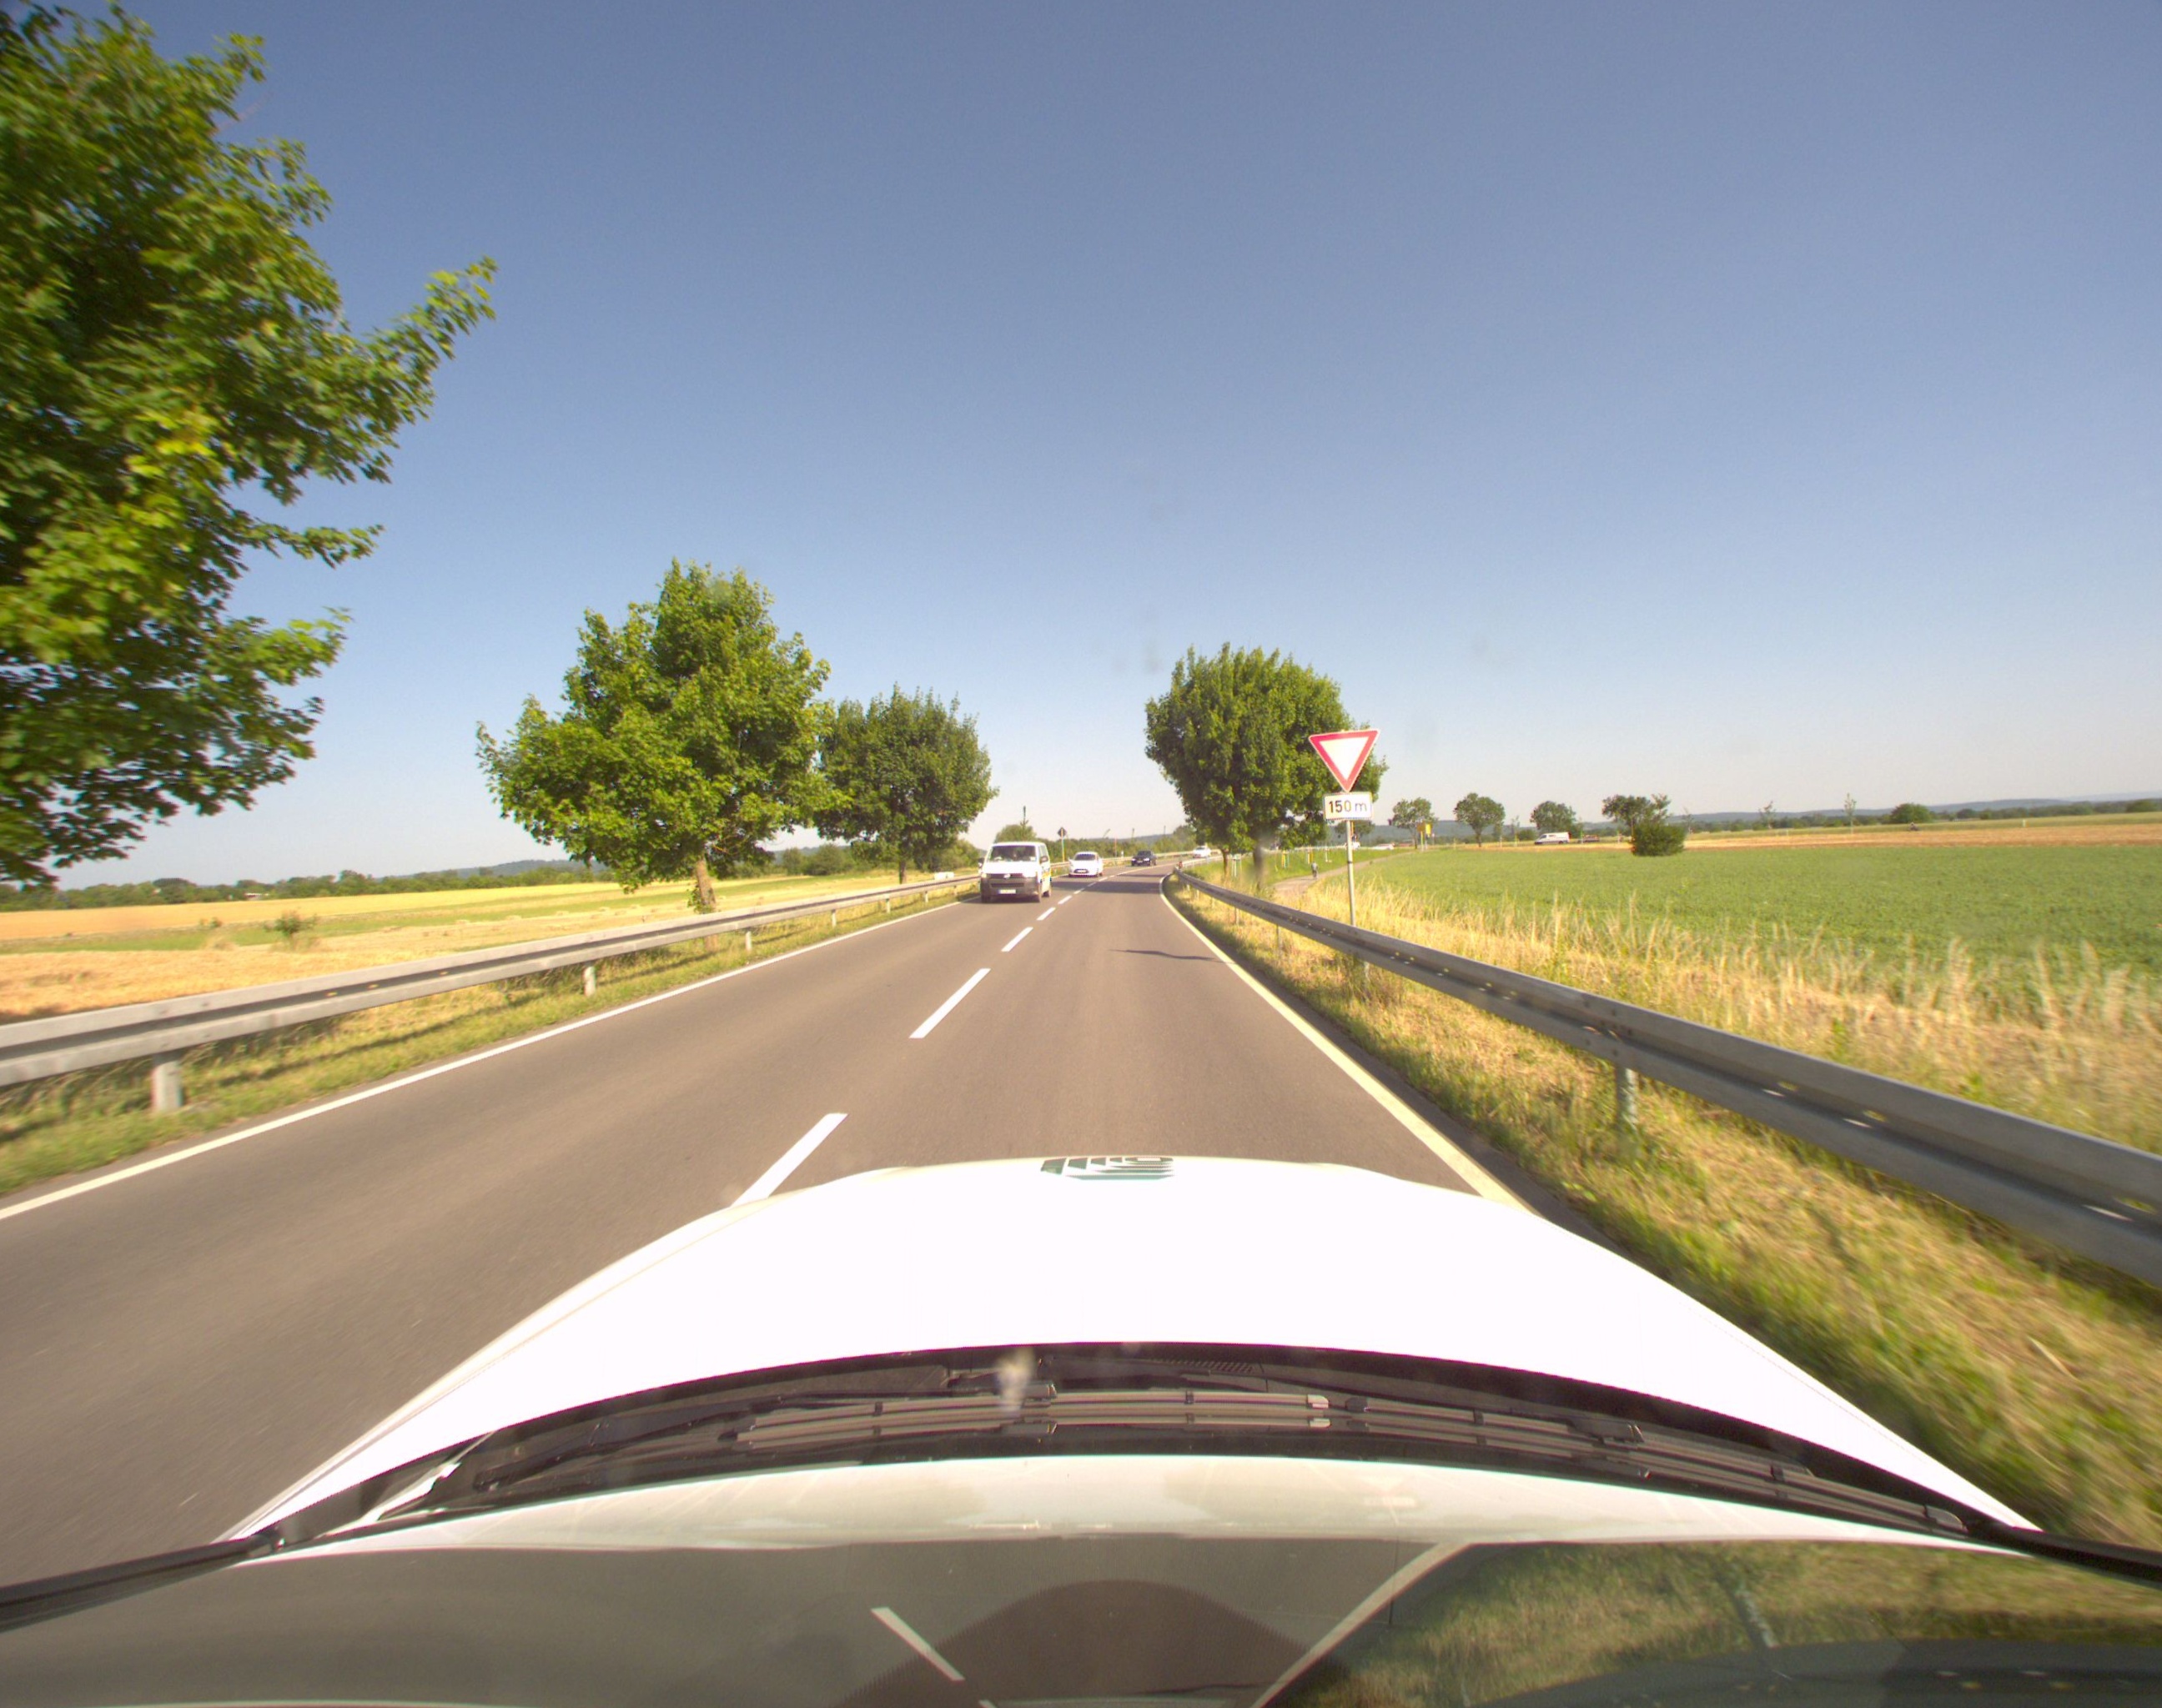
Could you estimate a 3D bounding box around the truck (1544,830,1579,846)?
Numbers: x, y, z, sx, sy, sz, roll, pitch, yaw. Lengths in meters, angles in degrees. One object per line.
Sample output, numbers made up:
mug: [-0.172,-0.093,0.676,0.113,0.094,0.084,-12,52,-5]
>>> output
truck: [91.519,-3.016,155.251,5.526,2.695,3.315,-1,-1,34]

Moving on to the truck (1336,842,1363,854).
truck: [57.603,-1.204,174.910,5.039,2.529,1.997,-1,-1,-4]

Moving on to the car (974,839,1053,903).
car: [-2.117,0.511,26.857,1.985,1.884,4.594,-1,0,3]

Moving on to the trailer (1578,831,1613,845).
trailer: [96.086,-3.009,152.202,5.390,2.354,3.376,-1,-1,34]

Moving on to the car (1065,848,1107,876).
car: [0.342,0.457,48.479,1.892,1.532,4.601,-1,0,8]

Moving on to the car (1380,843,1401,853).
car: [66.381,-1.288,174.856,3.960,2.014,2.006,-1,-1,12]

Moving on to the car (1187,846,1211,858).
car: [15.223,-0.244,104.577,1.976,1.532,4.616,-1,0,22]

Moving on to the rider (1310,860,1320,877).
rider: [21.161,1.321,73.576,0.603,1.527,1.836,-1,-1,23]

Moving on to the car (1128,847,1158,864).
car: [5.706,0.139,74.614,1.979,1.532,4.609,-1,0,14]
